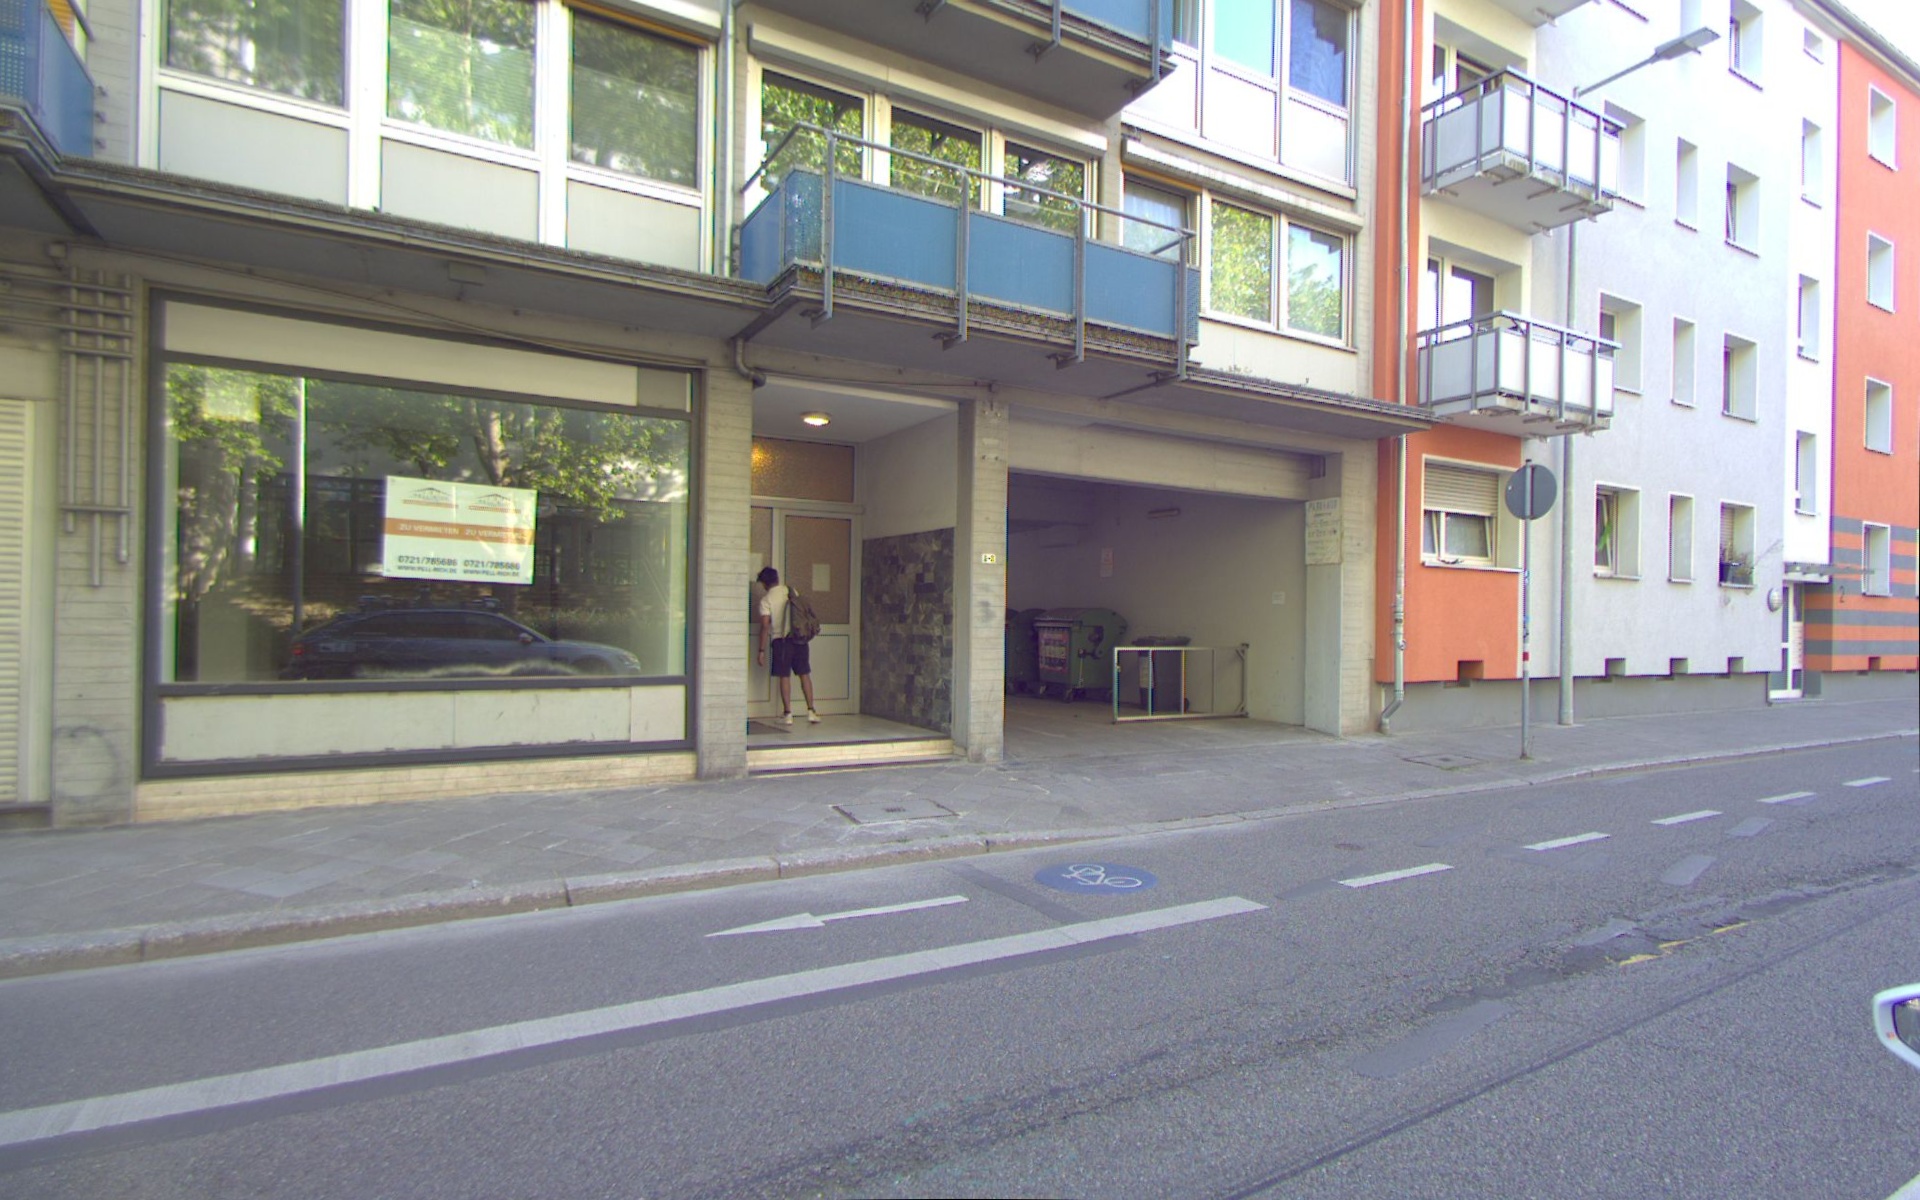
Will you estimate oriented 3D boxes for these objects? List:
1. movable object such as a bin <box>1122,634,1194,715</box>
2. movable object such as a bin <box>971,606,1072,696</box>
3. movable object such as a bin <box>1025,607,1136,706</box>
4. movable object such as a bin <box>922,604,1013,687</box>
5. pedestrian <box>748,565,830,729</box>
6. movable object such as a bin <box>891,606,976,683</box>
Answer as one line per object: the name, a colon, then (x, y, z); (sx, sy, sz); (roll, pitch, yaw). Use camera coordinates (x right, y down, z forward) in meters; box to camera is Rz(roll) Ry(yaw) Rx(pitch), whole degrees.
movable object such as a bin: (2.858, 1.062, 14.526); (0.707, 1.089, 0.735); (2, 0, -30)
movable object such as a bin: (1.040, 0.850, 17.195); (1.182, 1.452, 1.300); (2, 0, -30)
movable object such as a bin: (1.881, 0.868, 15.808); (1.182, 1.452, 1.300); (2, 0, -30)
movable object such as a bin: (0.128, 0.830, 18.770); (1.182, 1.452, 1.300); (2, 0, -30)
pedestrian: (-1.780, 0.471, 10.381); (0.558, 1.606, 0.919); (1, 0, -28)
movable object such as a bin: (-0.540, 0.860, 19.934); (1.182, 1.452, 1.300); (2, 0, -30)
